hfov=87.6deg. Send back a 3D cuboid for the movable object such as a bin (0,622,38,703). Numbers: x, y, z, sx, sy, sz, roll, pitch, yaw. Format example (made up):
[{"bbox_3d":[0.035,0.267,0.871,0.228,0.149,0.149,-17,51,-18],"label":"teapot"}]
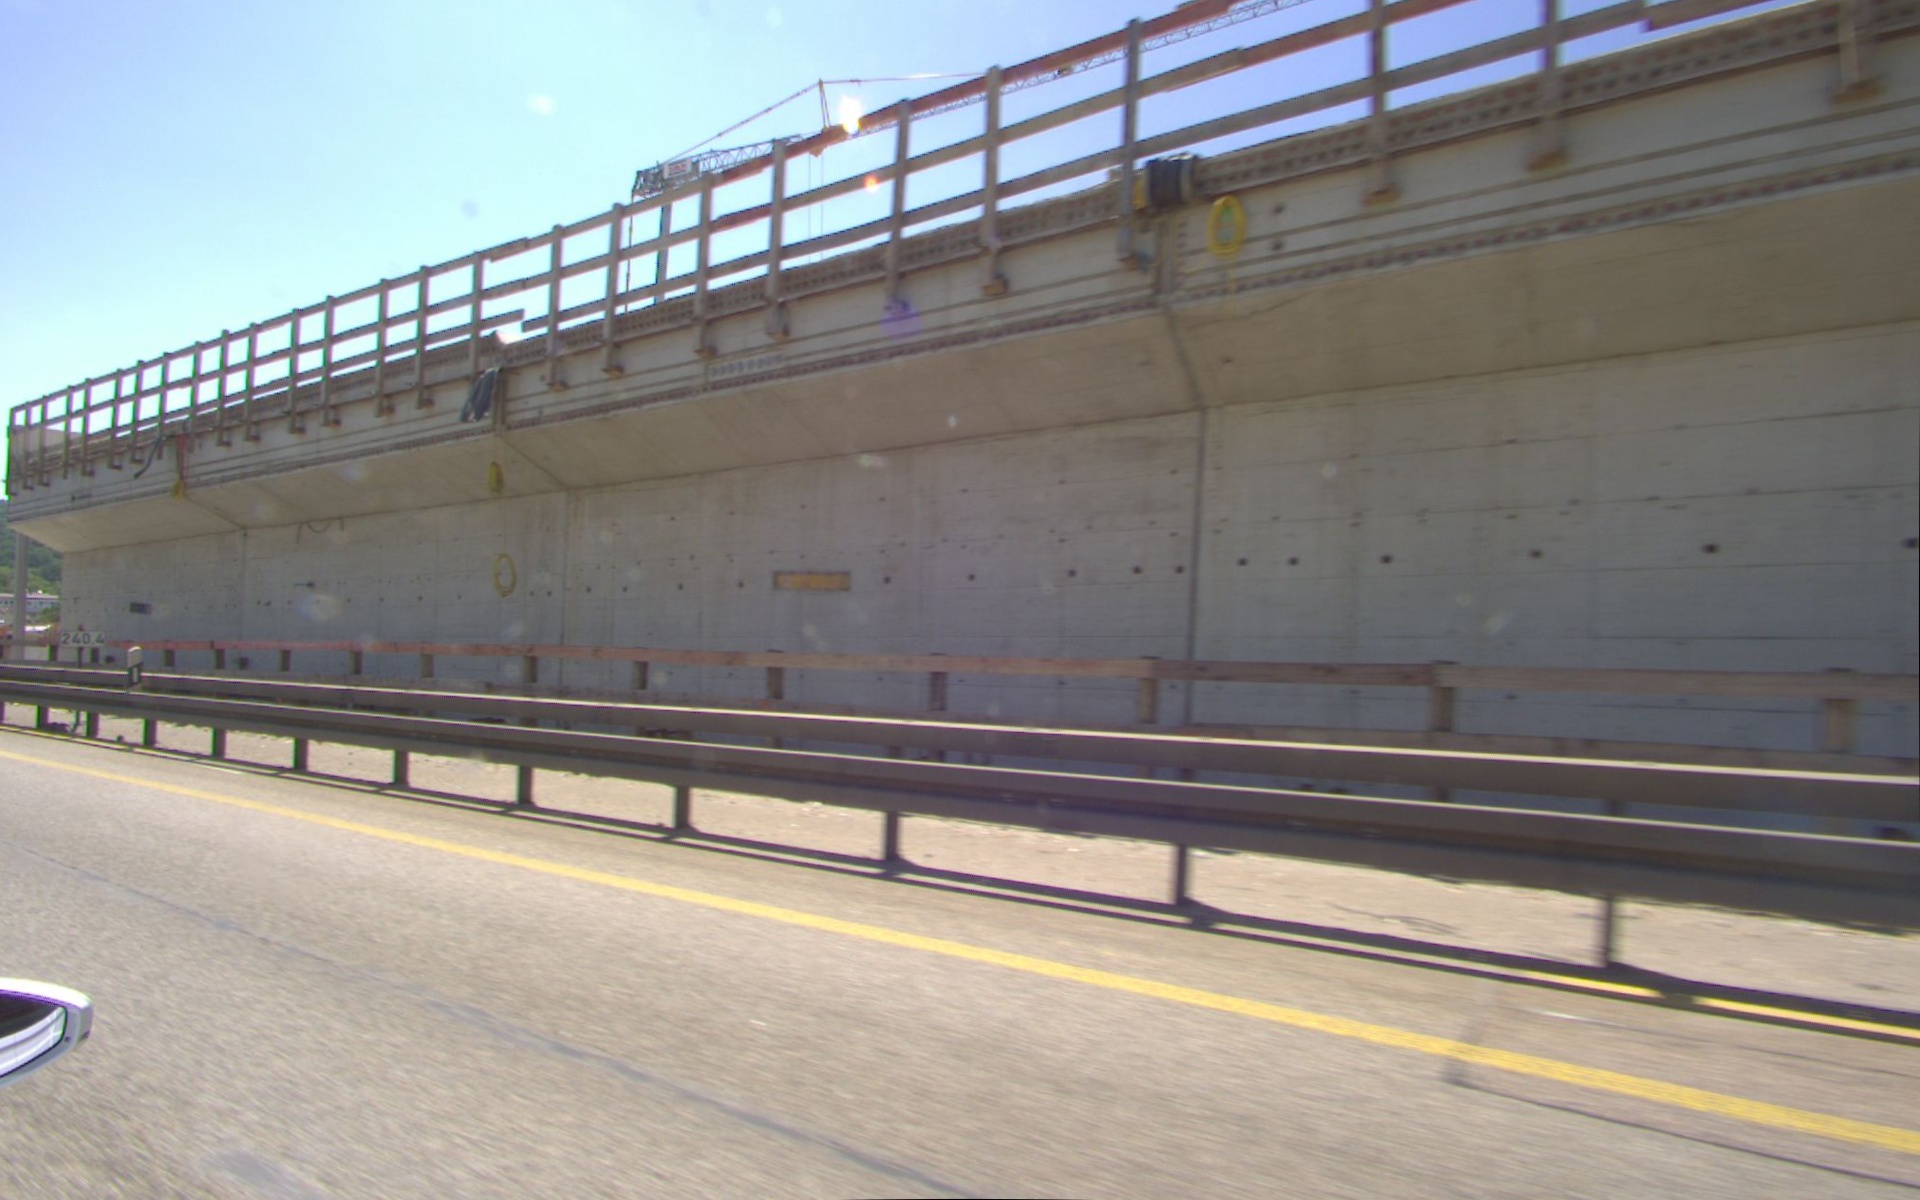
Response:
[{"bbox_3d":[-60.785,3.831,61.903,9.518,4.803,3.222,-2,-2,32],"label":"movable object such as a bin"}]
